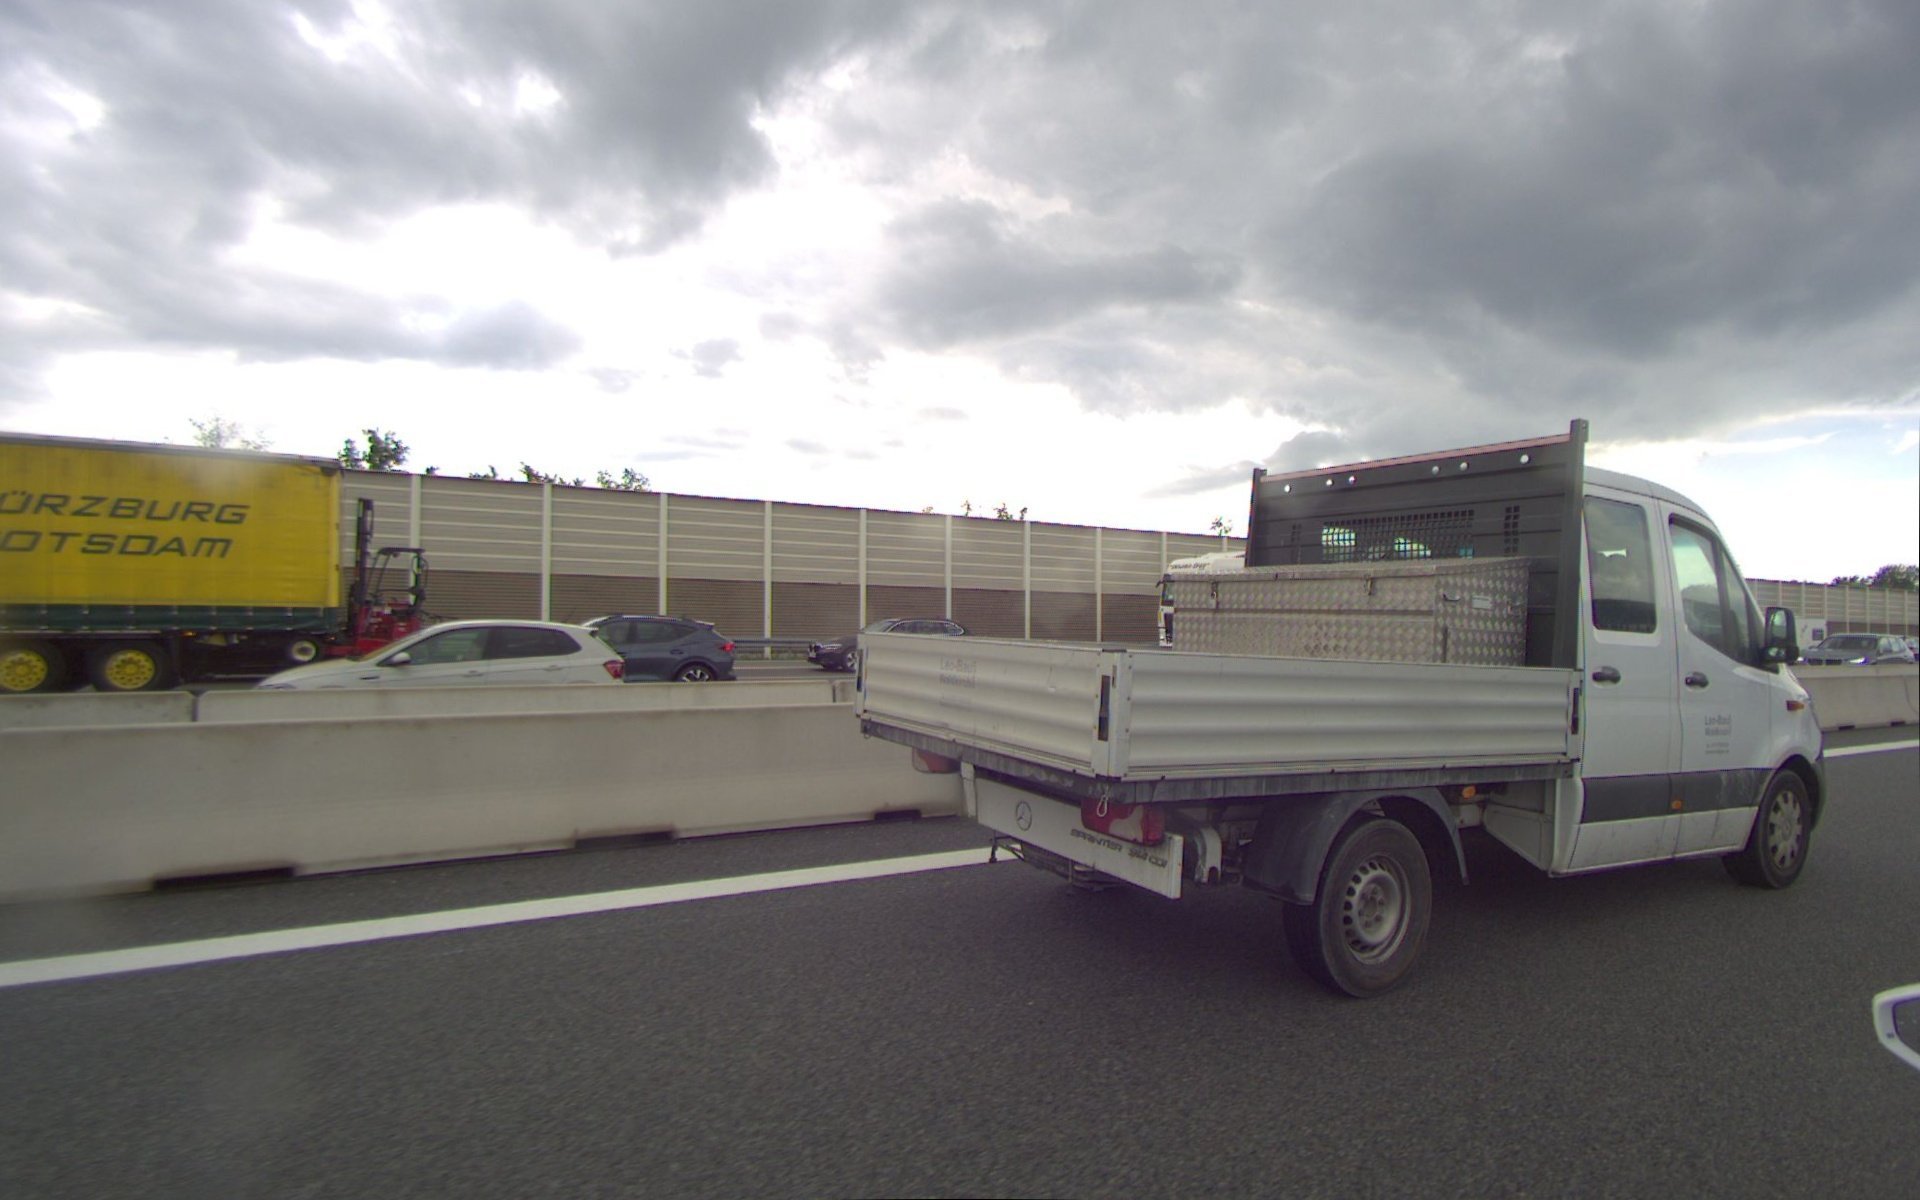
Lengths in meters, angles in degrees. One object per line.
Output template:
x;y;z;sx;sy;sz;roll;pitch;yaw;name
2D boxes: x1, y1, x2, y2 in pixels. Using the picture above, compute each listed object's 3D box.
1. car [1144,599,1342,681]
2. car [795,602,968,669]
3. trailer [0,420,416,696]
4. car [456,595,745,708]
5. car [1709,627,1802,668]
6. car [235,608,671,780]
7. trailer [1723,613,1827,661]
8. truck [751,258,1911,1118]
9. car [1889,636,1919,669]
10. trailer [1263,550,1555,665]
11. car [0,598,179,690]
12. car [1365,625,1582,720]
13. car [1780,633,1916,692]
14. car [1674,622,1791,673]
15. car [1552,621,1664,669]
7.036;0.963;24.872;4.724;1.840;2.050;2;-1;-31;car
-2.178;0.980;28.149;4.360;1.722;2.050;2;-1;-31;car
-16.416;-0.681;15.176;14.286;4.085;2.747;2;-1;-31;trailer
-6.139;0.830;17.260;4.360;1.722;2.050;2;-1;-31;car
36.226;2.149;45.708;4.360;1.722;1.945;2;-1;-31;car
-5.979;1.011;12.190;4.360;1.722;2.050;2;-1;-31;car
45.140;2.051;55.614;6.012;2.528;2.448;1;-1;-29;trailer
2.607;0.338;5.723;7.067;2.472;2.295;2;0;-31;truck
52.786;2.857;54.590;5.030;1.722;2.050;2;-1;-31;car
18.415;0.474;40.454;14.278;4.085;2.749;2;-1;-29;trailer
-18.447;0.839;19.960;4.360;1.722;2.050;2;-1;-31;car
11.232;1.504;21.889;4.724;1.840;2.050;2;-1;-31;car
28.582;1.964;32.315;4.837;1.722;1.945;2;-1;-31;car
28.173;1.697;36.597;4.360;1.722;1.945;2;-1;-31;car
25.038;1.712;38.764;4.360;1.722;1.945;2;-1;-31;car
